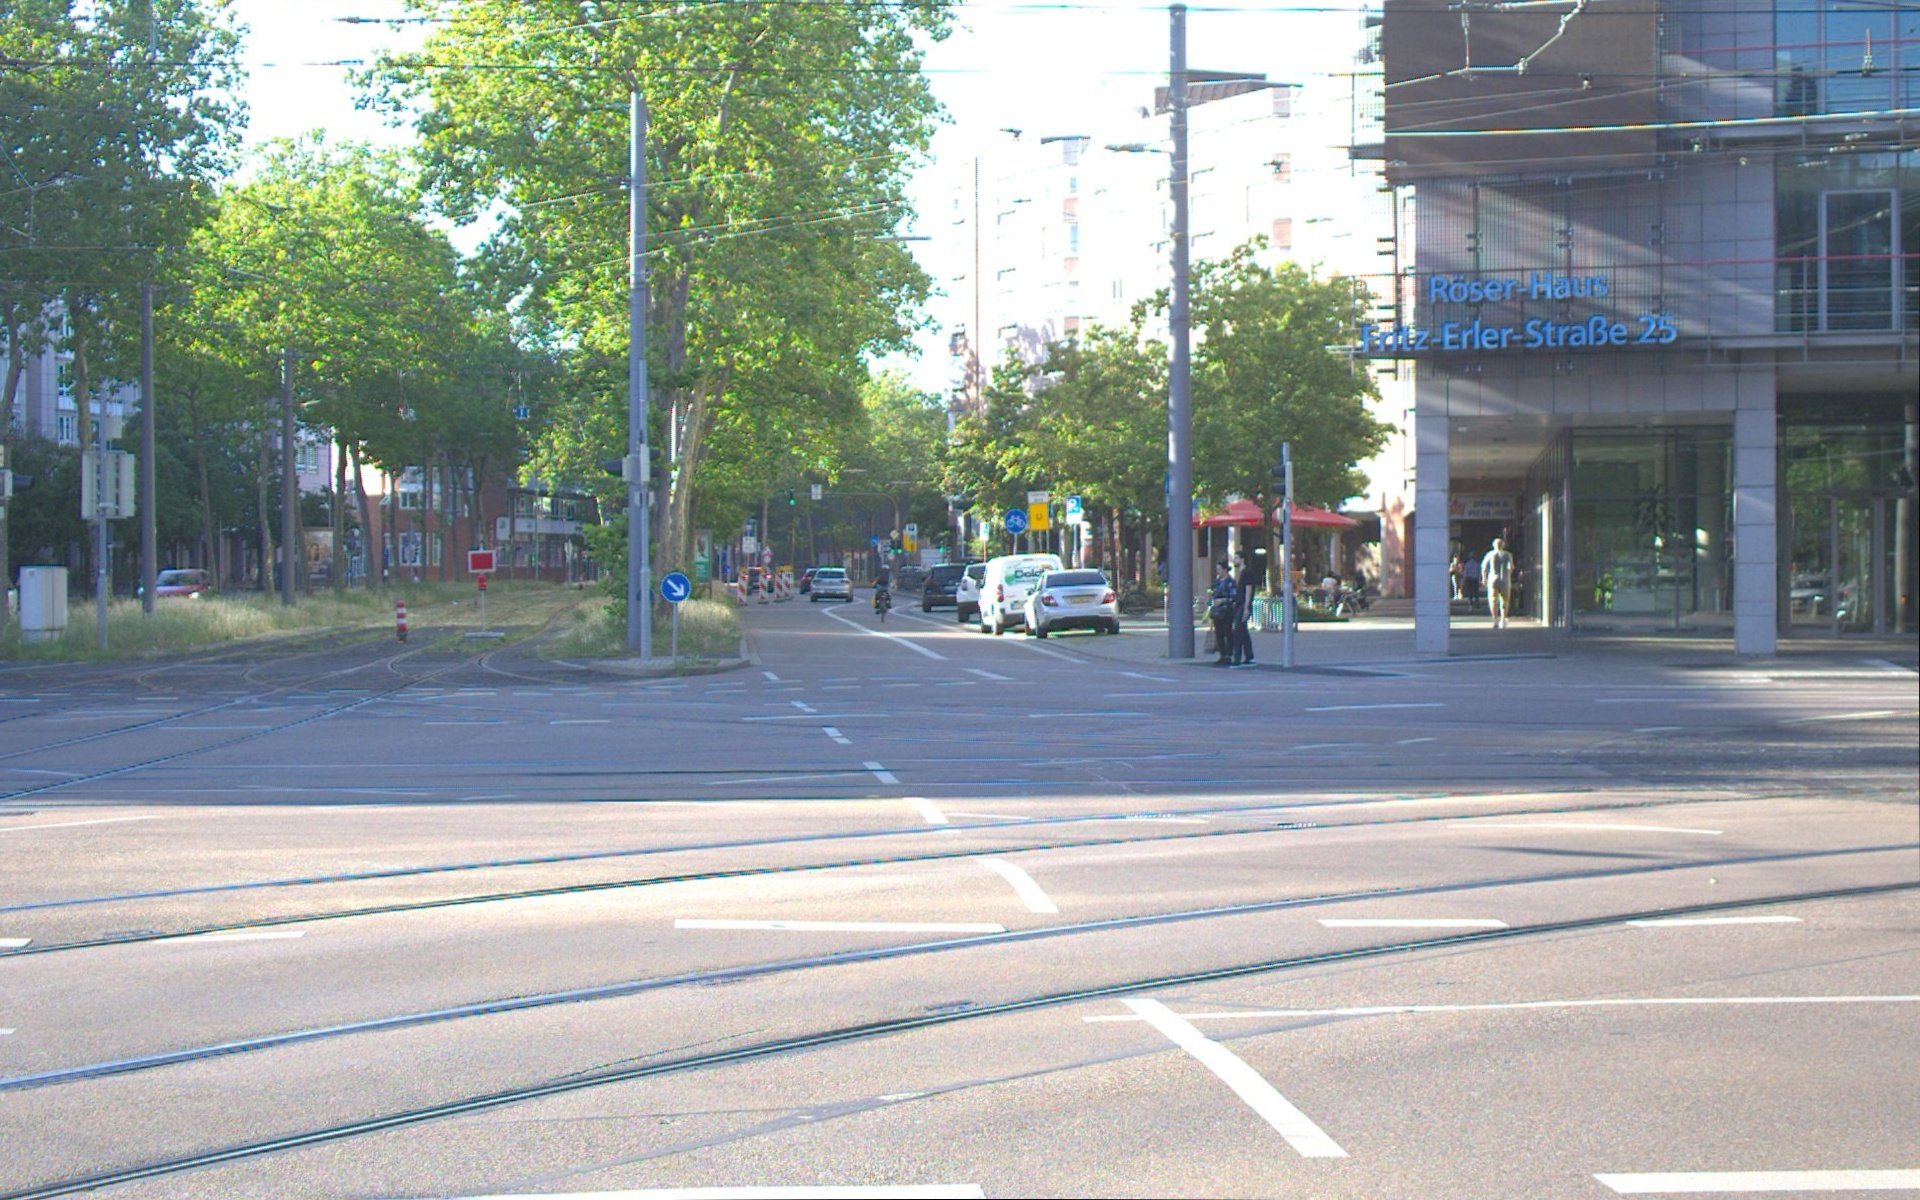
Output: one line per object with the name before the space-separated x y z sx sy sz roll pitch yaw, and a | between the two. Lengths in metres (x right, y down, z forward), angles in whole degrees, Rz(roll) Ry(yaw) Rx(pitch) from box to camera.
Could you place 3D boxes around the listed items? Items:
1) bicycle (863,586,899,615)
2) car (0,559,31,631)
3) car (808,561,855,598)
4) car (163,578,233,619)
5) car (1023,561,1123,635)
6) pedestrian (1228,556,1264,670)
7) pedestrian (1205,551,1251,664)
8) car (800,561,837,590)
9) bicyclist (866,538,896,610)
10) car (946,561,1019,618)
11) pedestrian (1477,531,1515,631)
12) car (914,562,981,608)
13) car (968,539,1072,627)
bicycle | -2.207 0.008 96.103 0.818 0.771 1.730 0 1 5
car | -21.556 -0.106 74.619 1.853 1.547 4.326 0 1 -3
car | -5.500 -0.900 147.563 1.853 1.547 4.325 0 1 -1
car | -23.443 -0.057 105.646 1.840 1.218 4.001 0 1 -16
car | 2.412 -0.058 74.471 1.853 1.547 4.326 0 1 -2
pedestrian | 4.567 0.206 54.945 0.373 1.817 0.547 0 0 -19
pedestrian | 4.349 0.118 55.747 0.542 1.817 0.589 0 0 -19
car | -7.658 -1.319 186.333 1.853 1.547 4.325 0 1 -1
bicyclist | -2.203 -0.734 96.092 0.752 2.007 0.743 1 0 5
car | 0.609 -0.305 96.819 1.853 1.547 4.326 0 1 -2
pedestrian | 10.843 -0.386 69.498 0.673 2.007 0.515 0 0 -1
car | -0.405 -0.538 118.291 2.262 1.547 4.325 0 1 0
car | 1.390 -0.409 81.158 1.993 2.007 4.386 0 1 -5
